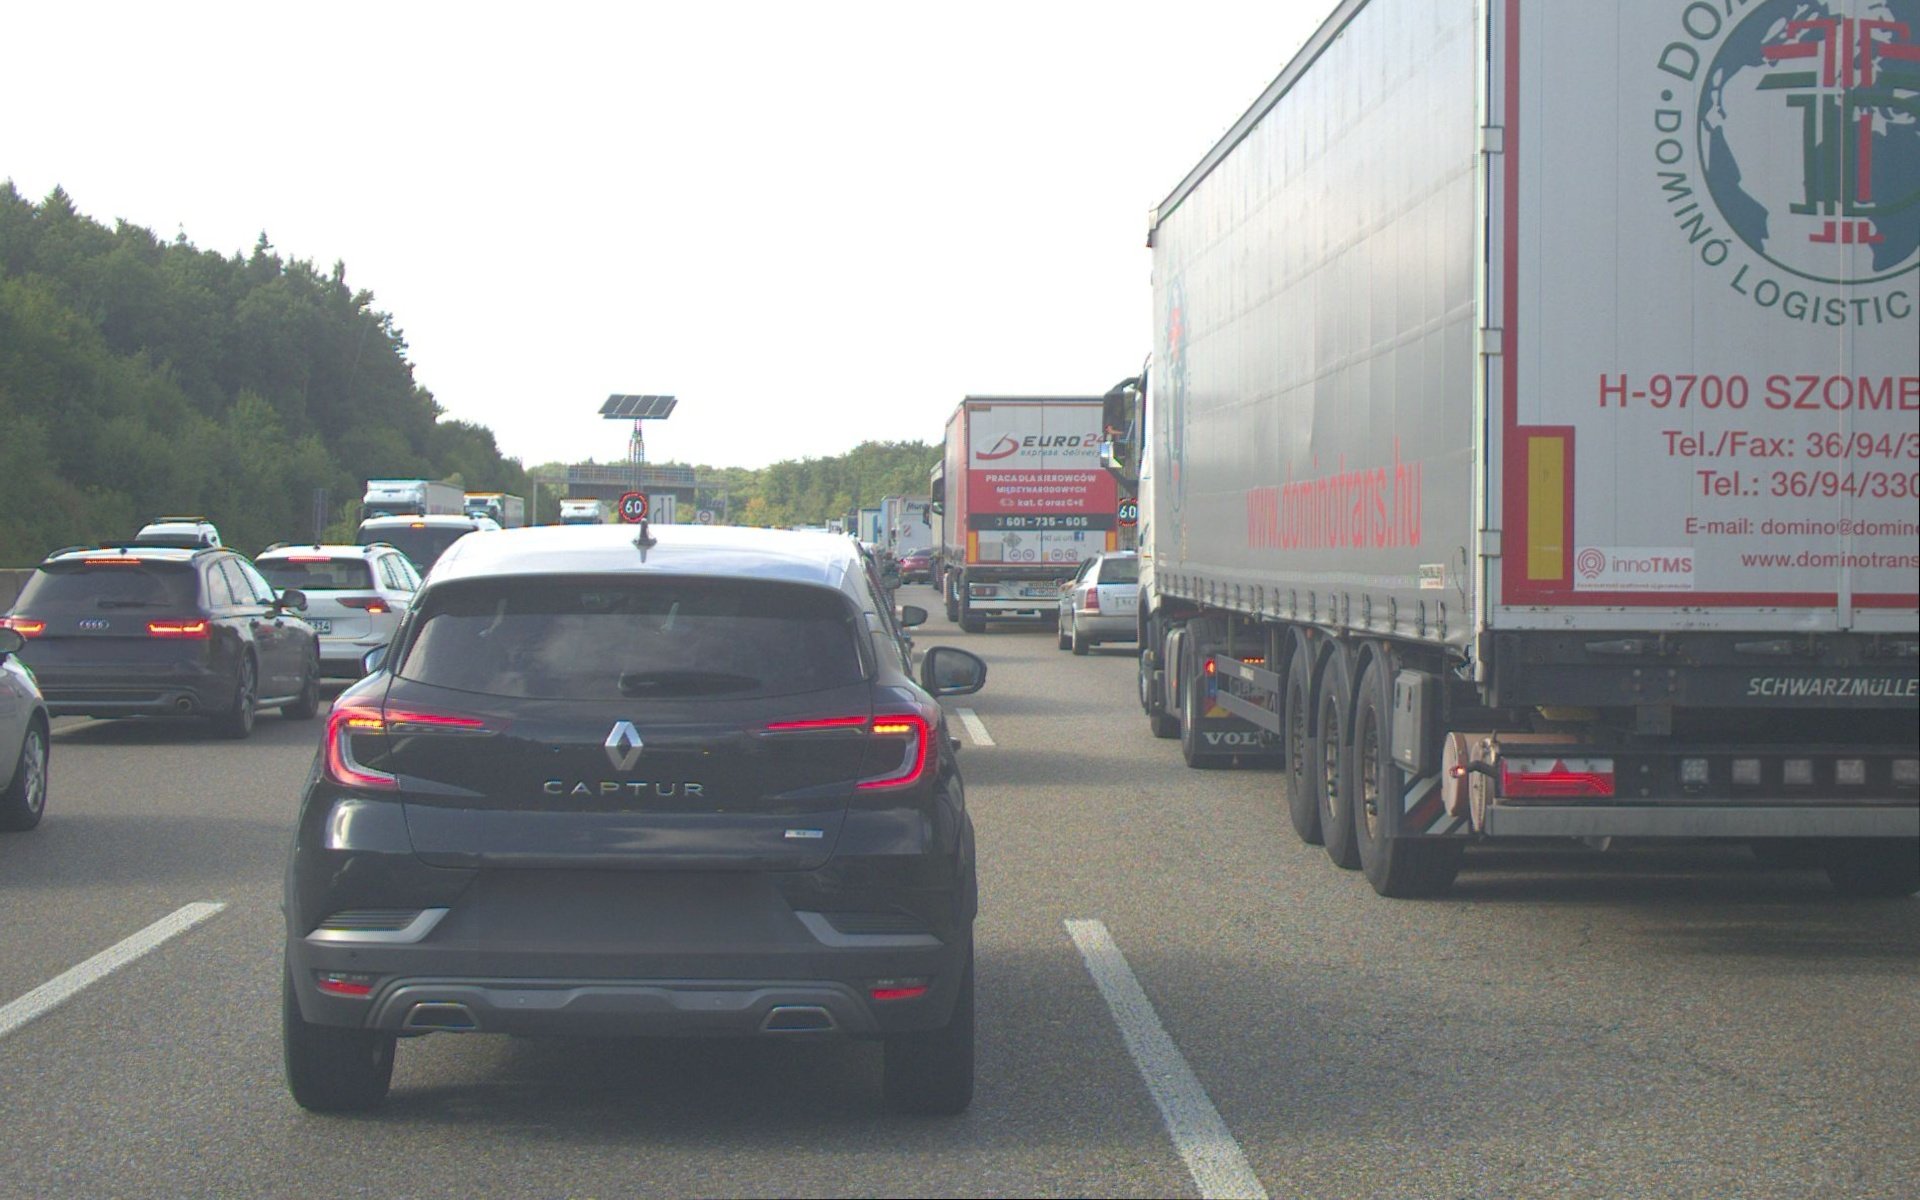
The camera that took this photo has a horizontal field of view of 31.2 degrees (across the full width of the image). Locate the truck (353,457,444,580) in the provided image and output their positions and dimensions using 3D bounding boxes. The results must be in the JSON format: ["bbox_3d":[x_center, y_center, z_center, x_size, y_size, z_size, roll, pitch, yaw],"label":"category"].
[{"bbox_3d":[-24.647,-3.543,151.192,3.039,5.235,6.884,1,0,-2],"label":"truck"}]

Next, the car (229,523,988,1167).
[{"bbox_3d":[-0.838,0.563,10.328,1.804,1.547,4.000,0,1,1],"label":"car"}]

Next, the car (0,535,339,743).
[{"bbox_3d":[-6.179,0.232,26.905,1.843,1.451,4.748,1,1,-1],"label":"car"}]

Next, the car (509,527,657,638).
[{"bbox_3d":[-6.085,-0.291,55.871,1.993,1.716,4.000,1,1,-1],"label":"car"}]

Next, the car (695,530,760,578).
[{"bbox_3d":[-8.006,-1.603,118.688,1.993,1.607,4.000,1,1,-1],"label":"car"}]

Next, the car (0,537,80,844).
[{"bbox_3d":[-5.455,0.443,16.041,1.747,1.460,4.041,0,1,-1],"label":"car"}]

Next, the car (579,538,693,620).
[{"bbox_3d":[-6.610,-0.439,70.507,1.993,1.607,4.000,1,1,-1],"label":"car"}]

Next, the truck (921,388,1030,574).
[{"bbox_3d":[0.382,-3.621,109.083,3.166,5.486,12.738,1,1,-1],"label":"truck"}]

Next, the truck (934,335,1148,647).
[{"bbox_3d":[1.270,-1.840,62.329,3.365,5.027,12.738,1,1,-1],"label":"truck"}]

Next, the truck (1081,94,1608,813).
[{"bbox_3d":[2.609,-1.002,25.371,2.997,4.651,5.940,1,1,-2],"label":"truck"}]

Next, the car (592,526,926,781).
[{"bbox_3d":[-1.247,0.302,22.748,1.993,1.509,4.000,1,1,-1],"label":"car"}]

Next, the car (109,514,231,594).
[{"bbox_3d":[-17.651,-1.044,76.991,1.852,1.706,4.324,1,1,-2],"label":"car"}]

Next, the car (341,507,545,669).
[{"bbox_3d":[-6.083,-0.157,40.908,1.911,1.783,4.418,1,1,-2],"label":"car"}]

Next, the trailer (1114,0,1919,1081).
[{"bbox_3d":[2.851,-0.842,18.125,3.002,4.645,13.291,1,1,-2],"label":"trailer"}]

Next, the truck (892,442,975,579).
[{"bbox_3d":[-1.036,-3.679,145.645,3.166,5.486,12.737,1,1,1],"label":"truck"}]

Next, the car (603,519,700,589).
[{"bbox_3d":[-7.302,-1.104,81.613,1.993,1.607,4.000,1,1,-1],"label":"car"}]

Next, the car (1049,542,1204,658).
[{"bbox_3d":[2.288,-0.024,48.162,1.804,1.527,3.926,1,1,-2],"label":"car"}]

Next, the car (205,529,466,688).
[{"bbox_3d":[-6.084,0.056,33.935,1.804,1.456,4.309,1,1,0],"label":"car"}]

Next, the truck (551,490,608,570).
[{"bbox_3d":[-24.723,-4.533,223.596,3.088,5.083,7.142,1,0,-2],"label":"truck"}]

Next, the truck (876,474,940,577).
[{"bbox_3d":[-2.720,-3.820,180.274,3.166,5.142,12.738,1,1,-1],"label":"truck"}]

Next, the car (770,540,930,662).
[{"bbox_3d":[-1.425,-0.003,45.421,1.993,1.509,4.000,1,1,-1],"label":"car"}]

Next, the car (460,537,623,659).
[{"bbox_3d":[-5.913,-0.042,48.944,1.855,1.635,3.926,1,1,0],"label":"car"}]

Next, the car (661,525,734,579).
[{"bbox_3d":[-8.073,-1.482,106.077,1.993,1.607,4.000,1,1,-1],"label":"car"}]

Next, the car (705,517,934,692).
[{"bbox_3d":[-1.274,0.021,32.361,1.993,1.509,4.000,1,1,-1],"label":"car"}]

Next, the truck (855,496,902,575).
[{"bbox_3d":[-5.799,-4.572,246.047,3.166,5.486,12.738,1,1,-1],"label":"truck"}]
